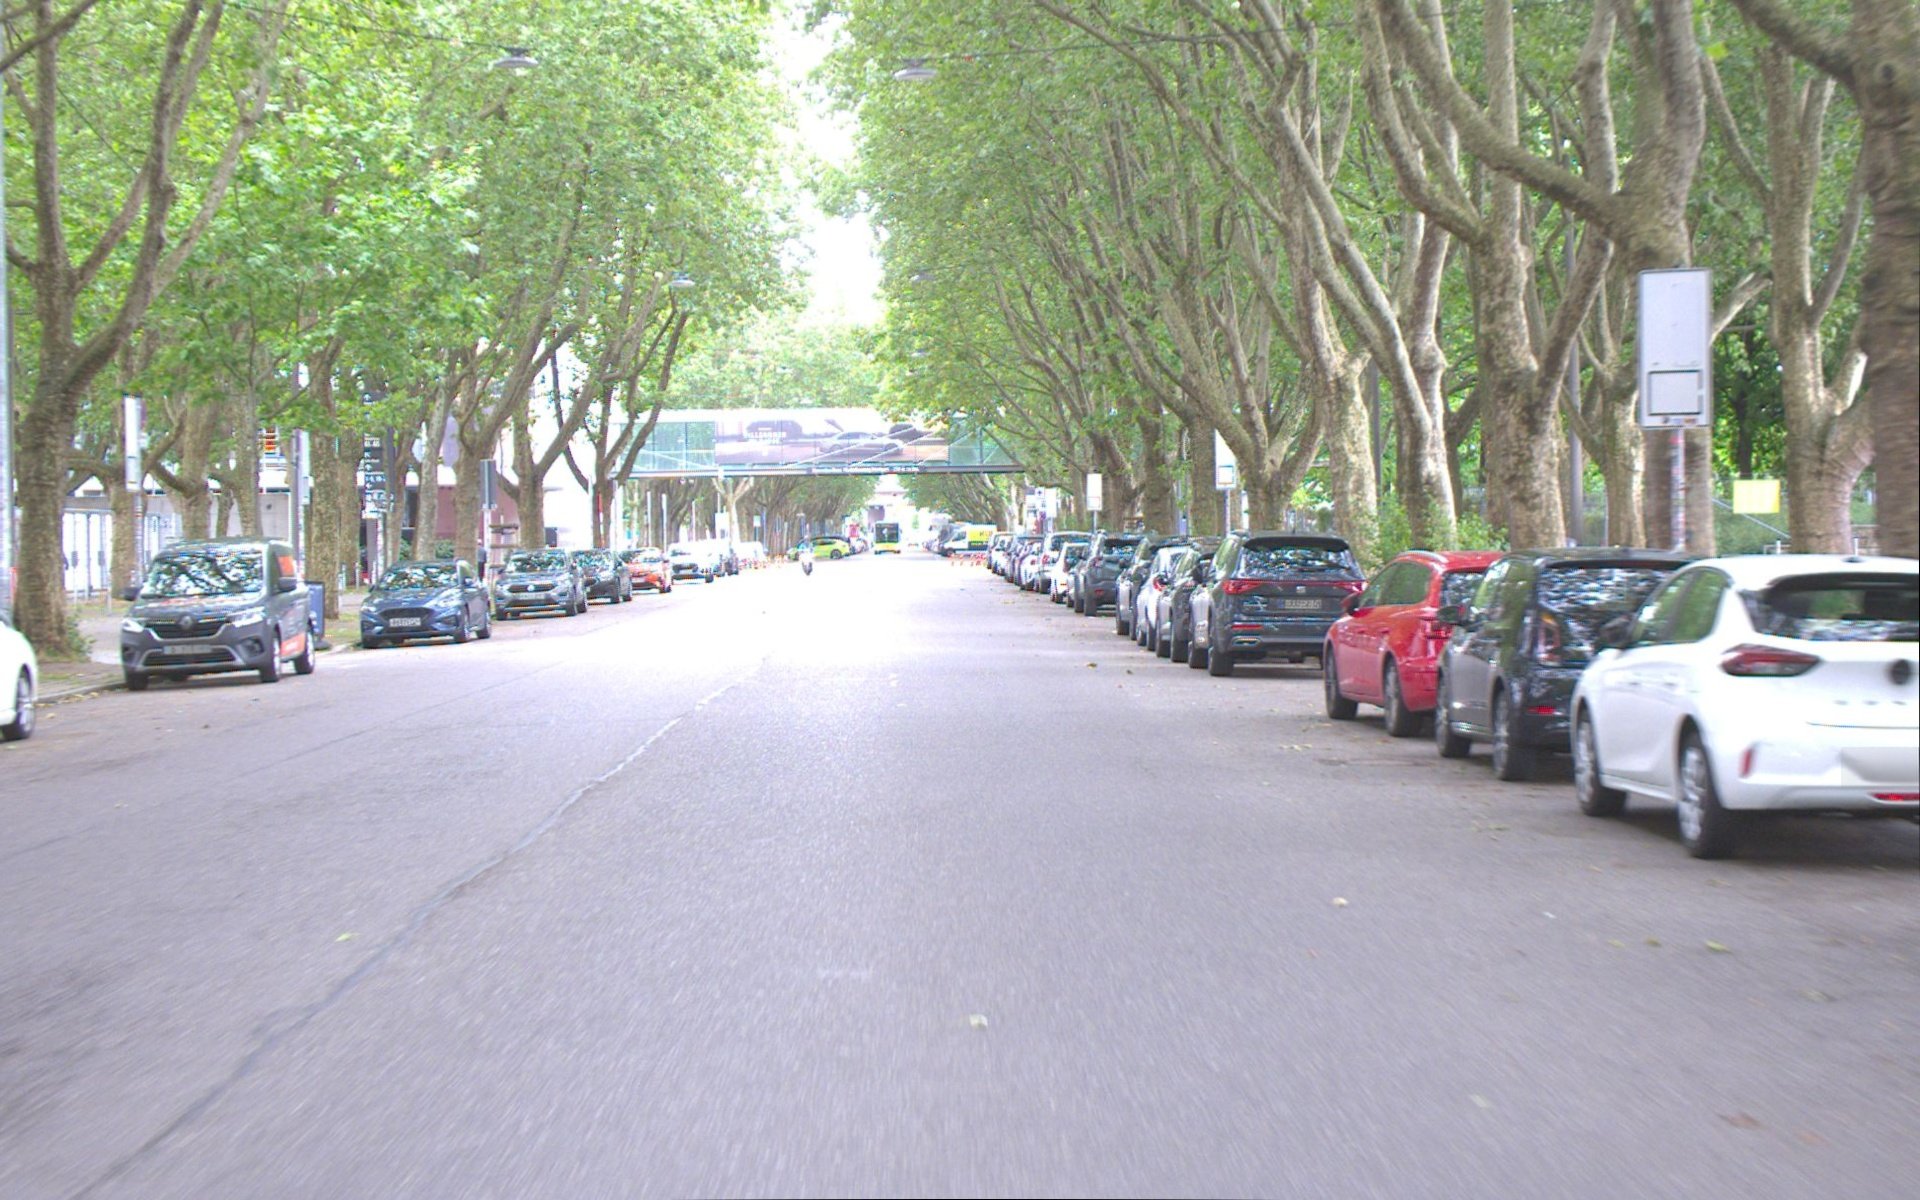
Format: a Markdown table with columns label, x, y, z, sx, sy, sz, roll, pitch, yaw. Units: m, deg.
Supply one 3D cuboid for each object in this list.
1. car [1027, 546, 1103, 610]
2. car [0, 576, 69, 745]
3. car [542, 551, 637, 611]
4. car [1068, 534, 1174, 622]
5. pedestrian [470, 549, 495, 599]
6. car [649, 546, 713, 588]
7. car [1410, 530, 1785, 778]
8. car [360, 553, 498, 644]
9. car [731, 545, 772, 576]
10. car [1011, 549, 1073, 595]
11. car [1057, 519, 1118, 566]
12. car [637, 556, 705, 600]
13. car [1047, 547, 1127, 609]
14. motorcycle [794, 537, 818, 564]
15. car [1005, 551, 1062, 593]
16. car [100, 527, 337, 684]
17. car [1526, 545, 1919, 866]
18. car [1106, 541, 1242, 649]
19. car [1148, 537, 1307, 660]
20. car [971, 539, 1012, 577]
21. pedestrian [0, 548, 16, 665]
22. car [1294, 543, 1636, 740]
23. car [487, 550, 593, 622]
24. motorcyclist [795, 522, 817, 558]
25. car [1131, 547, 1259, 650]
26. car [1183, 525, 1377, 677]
| label | x | y | z | sx | sy | sz | roll | pitch | yaw |
| --- | --- | --- | --- | --- | --- | --- | --- | --- | --- |
| car | 2.887 | -0.633 | 95.400 | 1.903 | 1.733 | 4.507 | 0 | 1 | -1 |
| car | -9.049 | 0.579 | 28.785 | 1.904 | 1.398 | 4.752 | -4 | 1 | -1 |
| car | -9.617 | -0.510 | 89.570 | 1.827 | 1.460 | 4.627 | -2 | 1 | 2 |
| car | 3.196 | -0.456 | 68.991 | 1.707 | 1.692 | 4.631 | 1 | 1 | -2 |
| pedestrian | -15.550 | -0.845 | 112.035 | 0.592 | 1.614 | 0.791 | 0 | 1 | 9 |
| car | -10.677 | -1.268 | 131.895 | 2.073 | 1.557 | 4.756 | -1 | 1 | 0 |
| car | 4.175 | 0.301 | 23.122 | 1.730 | 1.465 | 4.080 | 2 | 1 | 0 |
| car | -9.209 | -0.057 | 59.951 | 1.724 | 1.481 | 4.575 | -1 | 1 | -1 |
| car | -11.282 | -2.148 | 185.850 | 1.993 | 1.596 | 4.001 | 0 | 1 | -6 |
| car | 2.667 | -0.917 | 112.480 | 1.856 | 1.476 | 4.178 | 0 | 1 | -1 |
| car | 4.343 | -1.987 | 117.428 | 1.802 | 1.550 | 4.000 | -1 | 1 | -1 |
| car | -9.024 | -0.702 | 107.596 | 1.808 | 1.349 | 4.000 | -1 | 1 | 0 |
| car | 3.006 | -0.531 | 81.843 | 1.707 | 1.422 | 3.889 | 1 | 1 | -1 |
| motorcycle | -6.356 | -2.039 | 141.920 | 0.873 | 1.075 | 3.053 | -1 | 1 | -4 |
| car | 2.532 | -0.982 | 119.153 | 1.877 | 1.422 | 4.480 | 0 | 1 | 0 |
| car | -9.069 | 0.034 | 42.415 | 1.949 | 1.744 | 4.639 | -2 | 1 | -1 |
| car | 4.202 | 0.447 | 17.691 | 1.735 | 1.433 | 4.123 | -1 | 1 | -2 |
| car | 3.431 | -0.104 | 55.814 | 1.777 | 1.667 | 4.638 | -1 | 1 | -2 |
| car | 3.444 | -0.052 | 44.887 | 1.668 | 1.504 | 4.354 | 1 | 1 | -1 |
| car | 1.491 | -2.002 | 164.901 | 1.847 | 1.777 | 5.211 | 1 | 0 | -1 |
| pedestrian | -14.831 | 0.099 | 52.309 | 0.577 | 1.764 | 0.767 | 0 | 1 | 14 |
| car | 3.994 | 0.277 | 27.966 | 1.716 | 1.433 | 4.630 | 1 | 1 | -5 |
| car | -9.456 | -0.330 | 77.636 | 1.878 | 1.521 | 4.151 | -2 | 1 | 0 |
| motorcyclist | -6.346 | -2.475 | 141.835 | 0.870 | 1.475 | 1.265 | -1 | 1 | -4 |
| car | 3.450 | -0.049 | 50.906 | 1.616 | 1.436 | 3.710 | 1 | 1 | 0 |
| car | 3.622 | -0.019 | 39.572 | 1.755 | 1.614 | 4.439 | 1 | 1 | -1 |
